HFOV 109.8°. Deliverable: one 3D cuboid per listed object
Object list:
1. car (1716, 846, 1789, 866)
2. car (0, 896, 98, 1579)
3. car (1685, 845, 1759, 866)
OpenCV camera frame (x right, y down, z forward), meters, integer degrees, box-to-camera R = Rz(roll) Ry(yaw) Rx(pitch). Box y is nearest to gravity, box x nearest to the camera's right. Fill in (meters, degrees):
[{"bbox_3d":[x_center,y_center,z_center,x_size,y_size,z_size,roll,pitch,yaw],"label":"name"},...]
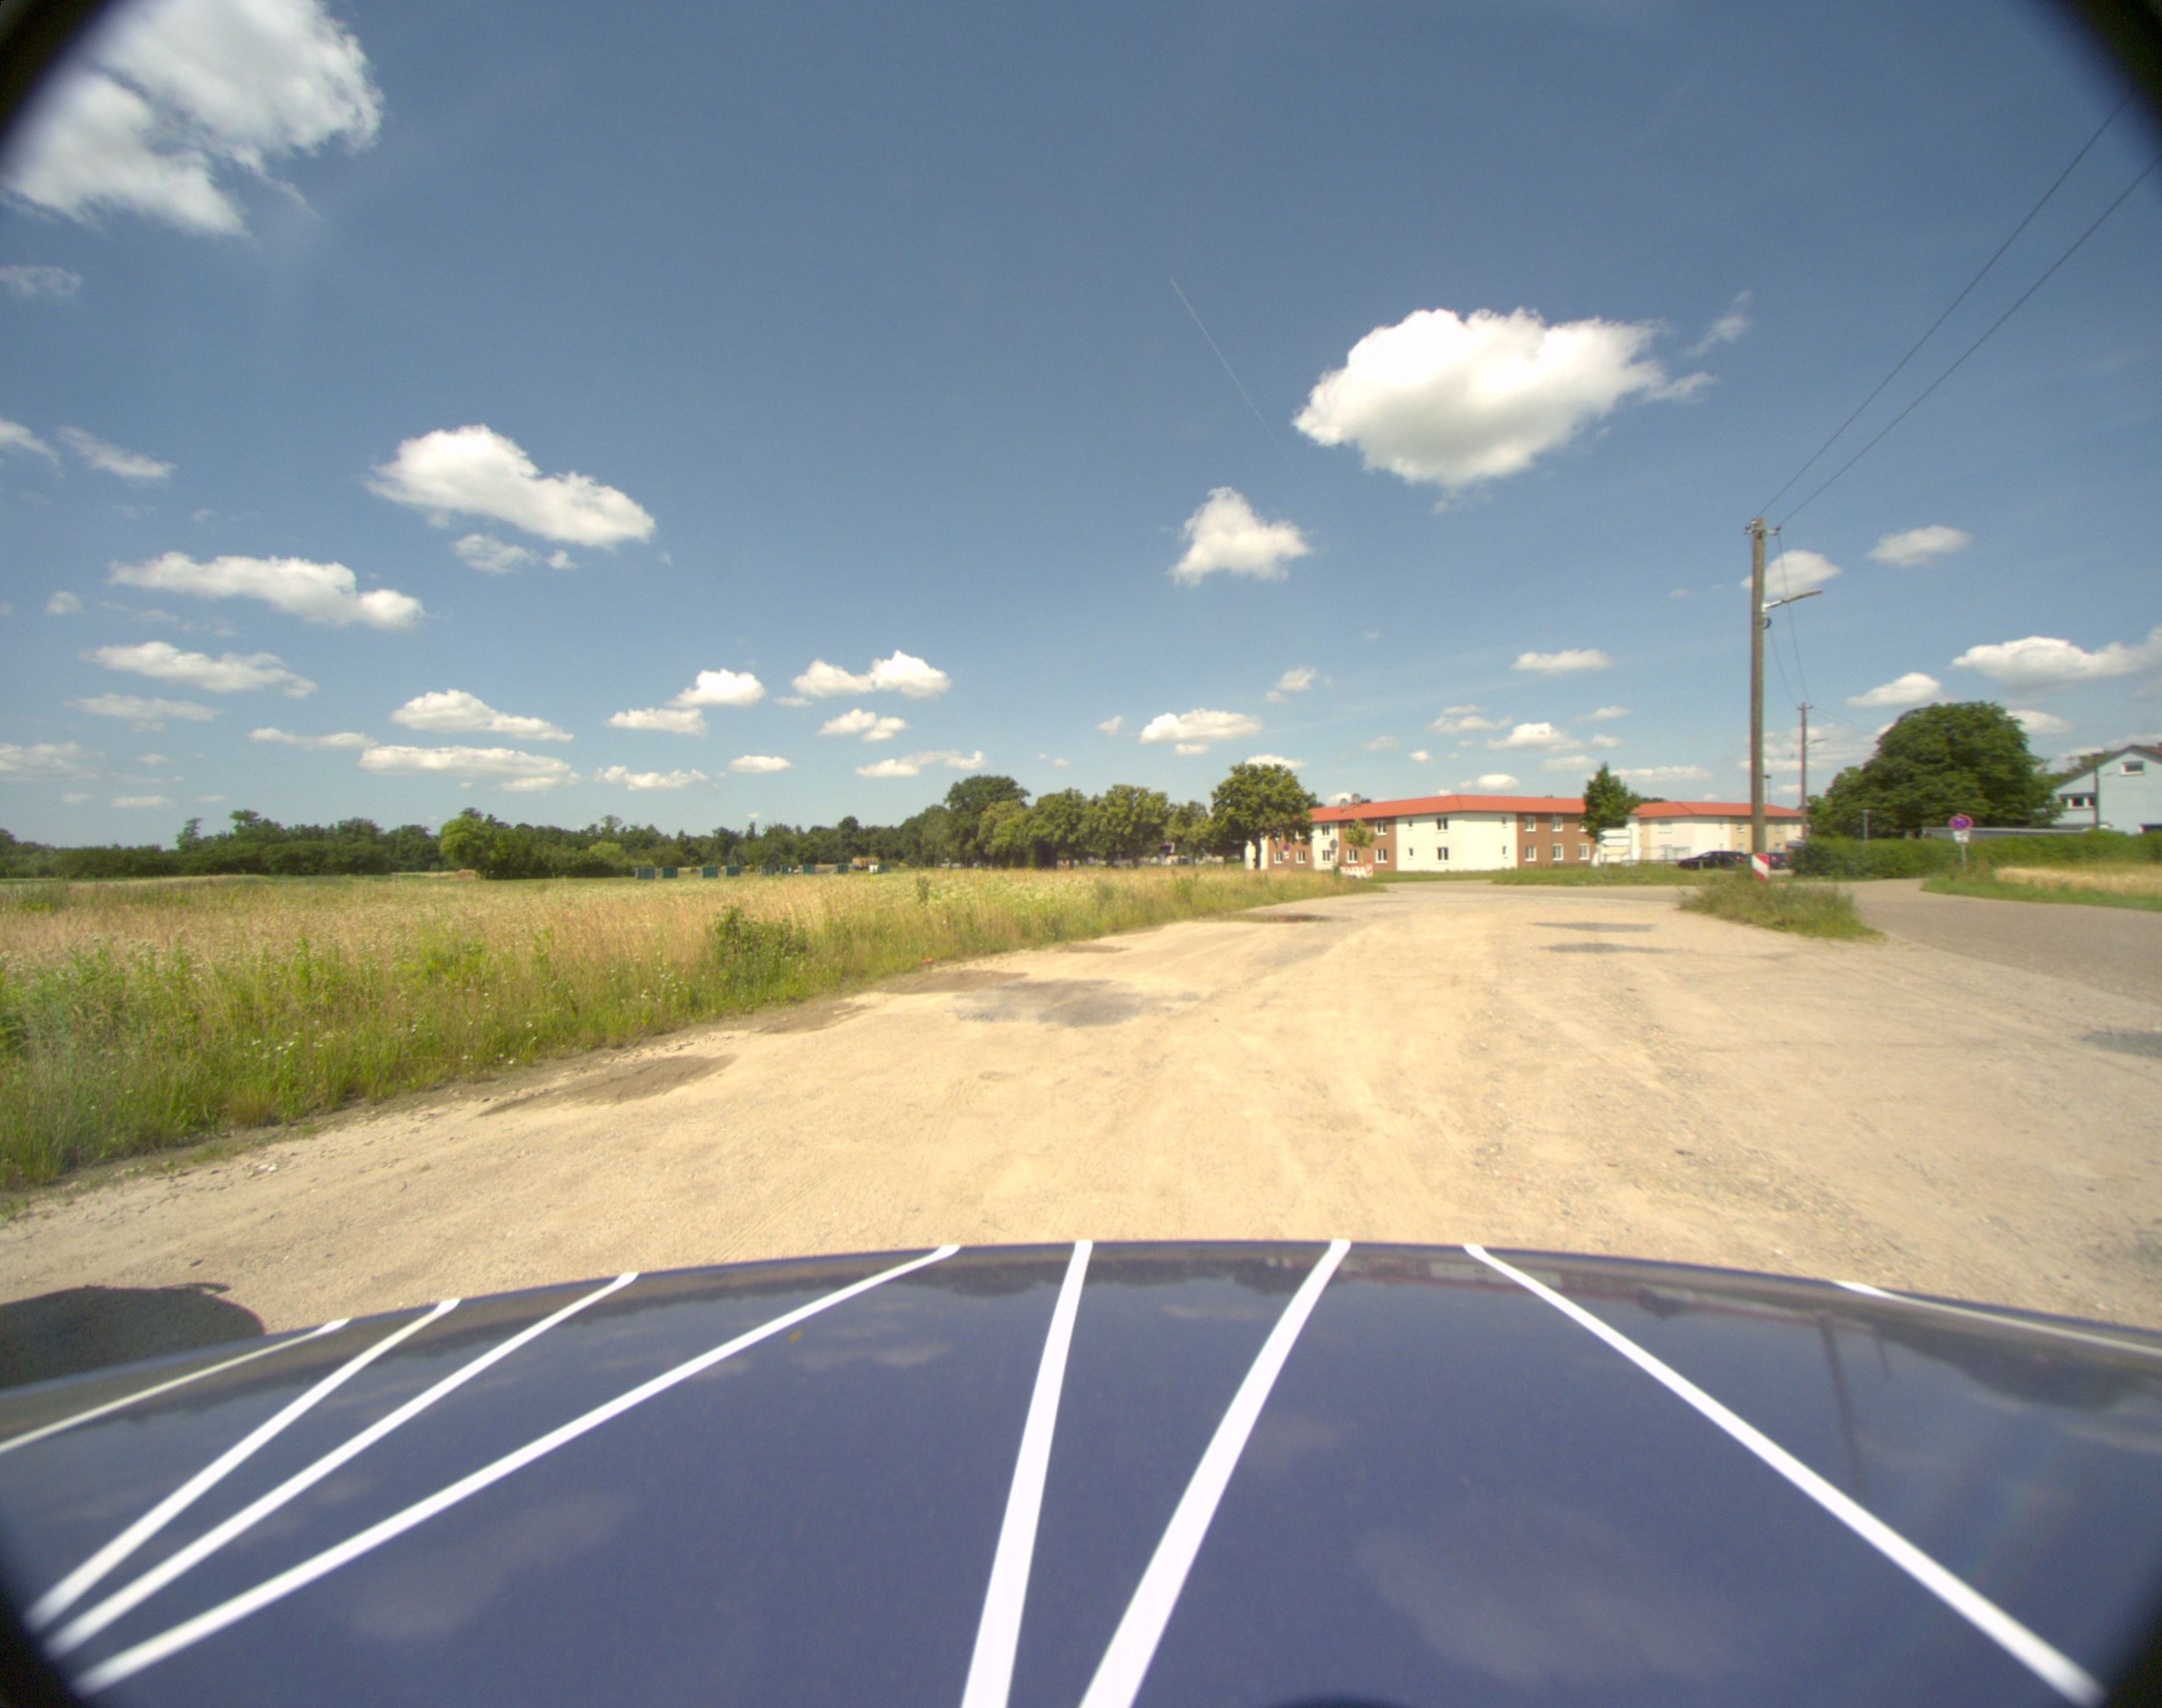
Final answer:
[{"bbox_3d":[55.646,0.191,63.041,2.003,1.605,4.140,-1,0,-25],"label":"car"},{"bbox_3d":[-4.232,1.006,0.185,1.860,1.651,4.464,-2,0,20],"label":"car"},{"bbox_3d":[51.945,0.119,61.656,2.003,1.605,4.140,-1,0,-25],"label":"car"}]
